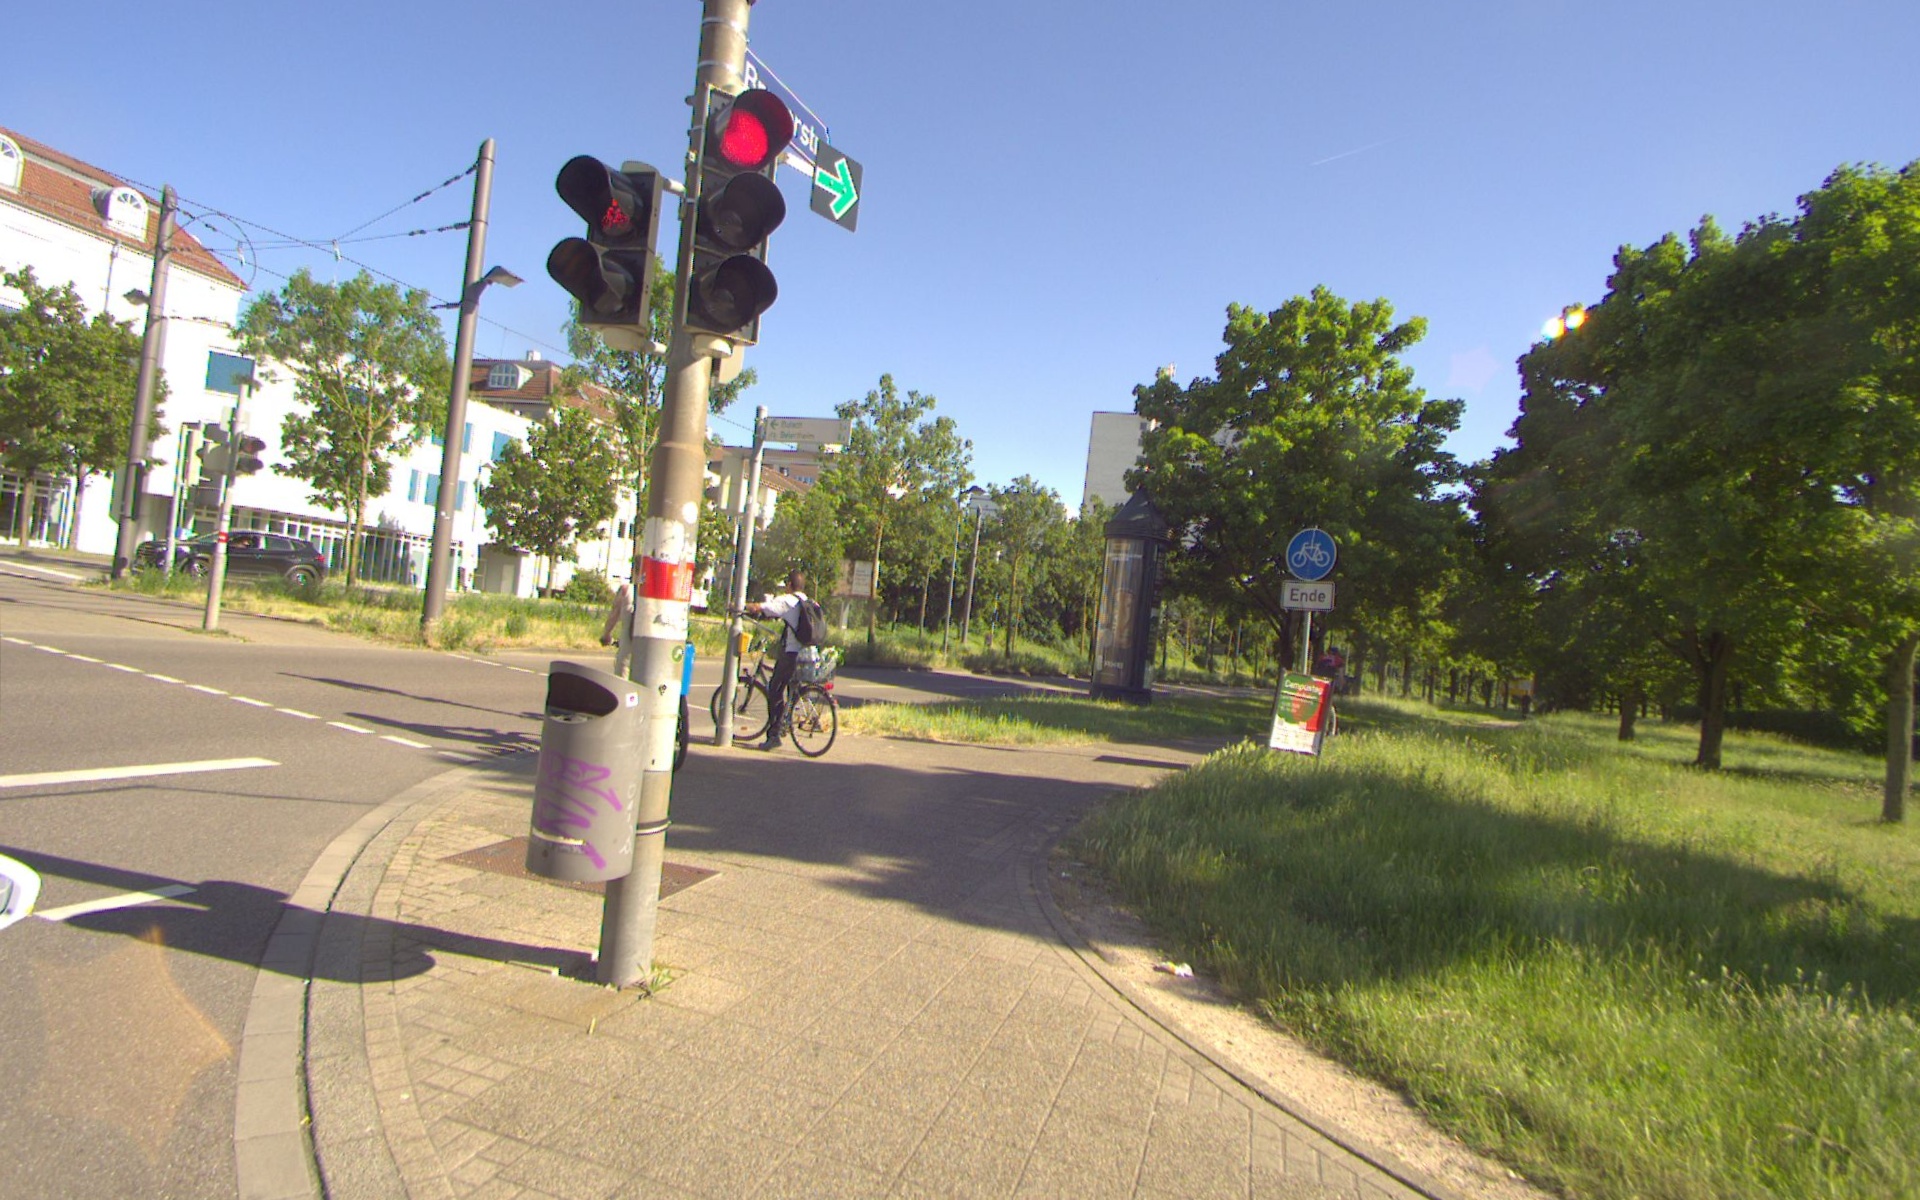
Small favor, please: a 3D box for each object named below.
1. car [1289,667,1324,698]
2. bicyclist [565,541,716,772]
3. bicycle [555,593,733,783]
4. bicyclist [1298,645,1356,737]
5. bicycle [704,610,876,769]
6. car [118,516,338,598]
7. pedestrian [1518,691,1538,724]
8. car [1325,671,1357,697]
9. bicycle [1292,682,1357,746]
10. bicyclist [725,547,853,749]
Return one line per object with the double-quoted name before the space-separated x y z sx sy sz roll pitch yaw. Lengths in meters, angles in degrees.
"car" 21.705 5.187 62.932 1.663 1.594 3.876 5 -5 24
"bicyclist" -2.782 0.465 8.716 0.785 1.846 1.125 6 -1 -34
"bicycle" -2.781 0.704 8.684 0.785 1.364 2.060 7 -1 -34
"bicyclist" 6.900 1.709 18.887 0.662 1.605 1.002 6 -1 33
"bicycle" -1.835 0.878 10.509 0.785 1.364 2.242 7 -1 -34
"car" -20.440 -1.151 28.336 1.965 1.628 4.513 6 -2 27
"pedestrian" 31.924 6.011 56.549 0.726 1.747 0.889 6 -1 21
"car" 32.104 7.091 84.728 1.735 1.819 4.497 5 -5 29
"bicycle" 6.870 2.125 18.898 0.662 1.067 1.808 6 -1 33
"bicyclist" -1.803 0.484 10.526 0.785 1.983 1.002 6 0 -34
